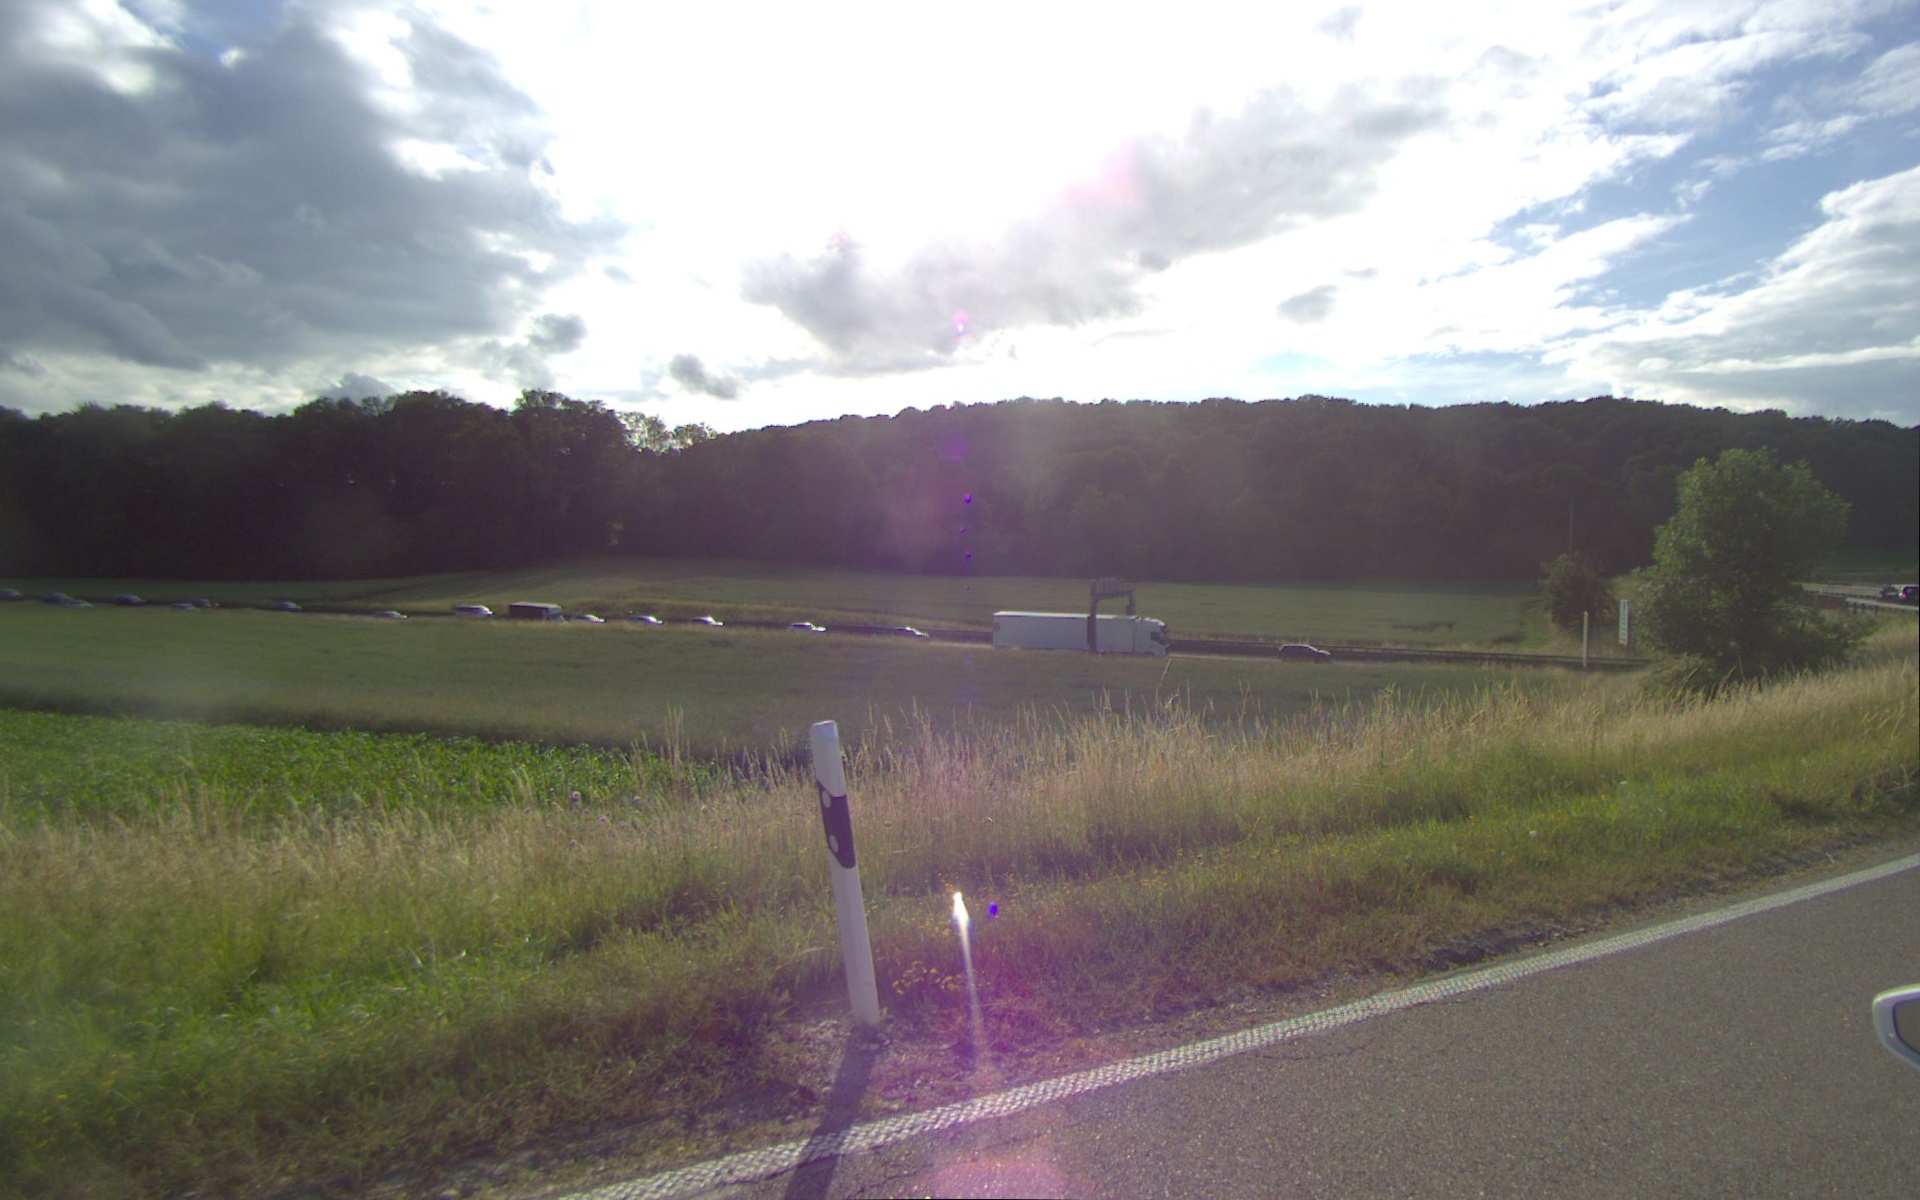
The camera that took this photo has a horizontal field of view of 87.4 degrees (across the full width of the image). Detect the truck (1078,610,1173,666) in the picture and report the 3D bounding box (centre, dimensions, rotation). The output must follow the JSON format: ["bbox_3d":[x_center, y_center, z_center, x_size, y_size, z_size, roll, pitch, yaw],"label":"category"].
[{"bbox_3d":[14.832,3.351,90.062,7.902,4.530,3.026,0,5,24],"label":"truck"}]

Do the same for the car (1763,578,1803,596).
[{"bbox_3d":[69.180,-1.143,84.482,1.656,1.395,3.994,1,2,26],"label":"car"}]

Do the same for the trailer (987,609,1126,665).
[{"bbox_3d":[8.840,3.326,92.746,12.484,4.530,3.029,0,5,24],"label":"trailer"}]

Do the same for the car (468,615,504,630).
[{"bbox_3d":[-60.200,2.879,127.581,3.922,1.750,2.000,1,-2,21],"label":"car"}]

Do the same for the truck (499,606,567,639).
[{"bbox_3d":[-49.619,2.578,116.609,8.336,3.451,2.122,-3,1,25],"label":"truck"}]

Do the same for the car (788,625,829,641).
[{"bbox_3d":[-16.522,3.599,109.534,3.924,1.672,1.827,-2,1,23],"label":"car"}]

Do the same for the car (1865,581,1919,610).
[{"bbox_3d":[55.234,-0.276,58.933,1.831,1.590,3.998,1,1,22],"label":"car"}]
